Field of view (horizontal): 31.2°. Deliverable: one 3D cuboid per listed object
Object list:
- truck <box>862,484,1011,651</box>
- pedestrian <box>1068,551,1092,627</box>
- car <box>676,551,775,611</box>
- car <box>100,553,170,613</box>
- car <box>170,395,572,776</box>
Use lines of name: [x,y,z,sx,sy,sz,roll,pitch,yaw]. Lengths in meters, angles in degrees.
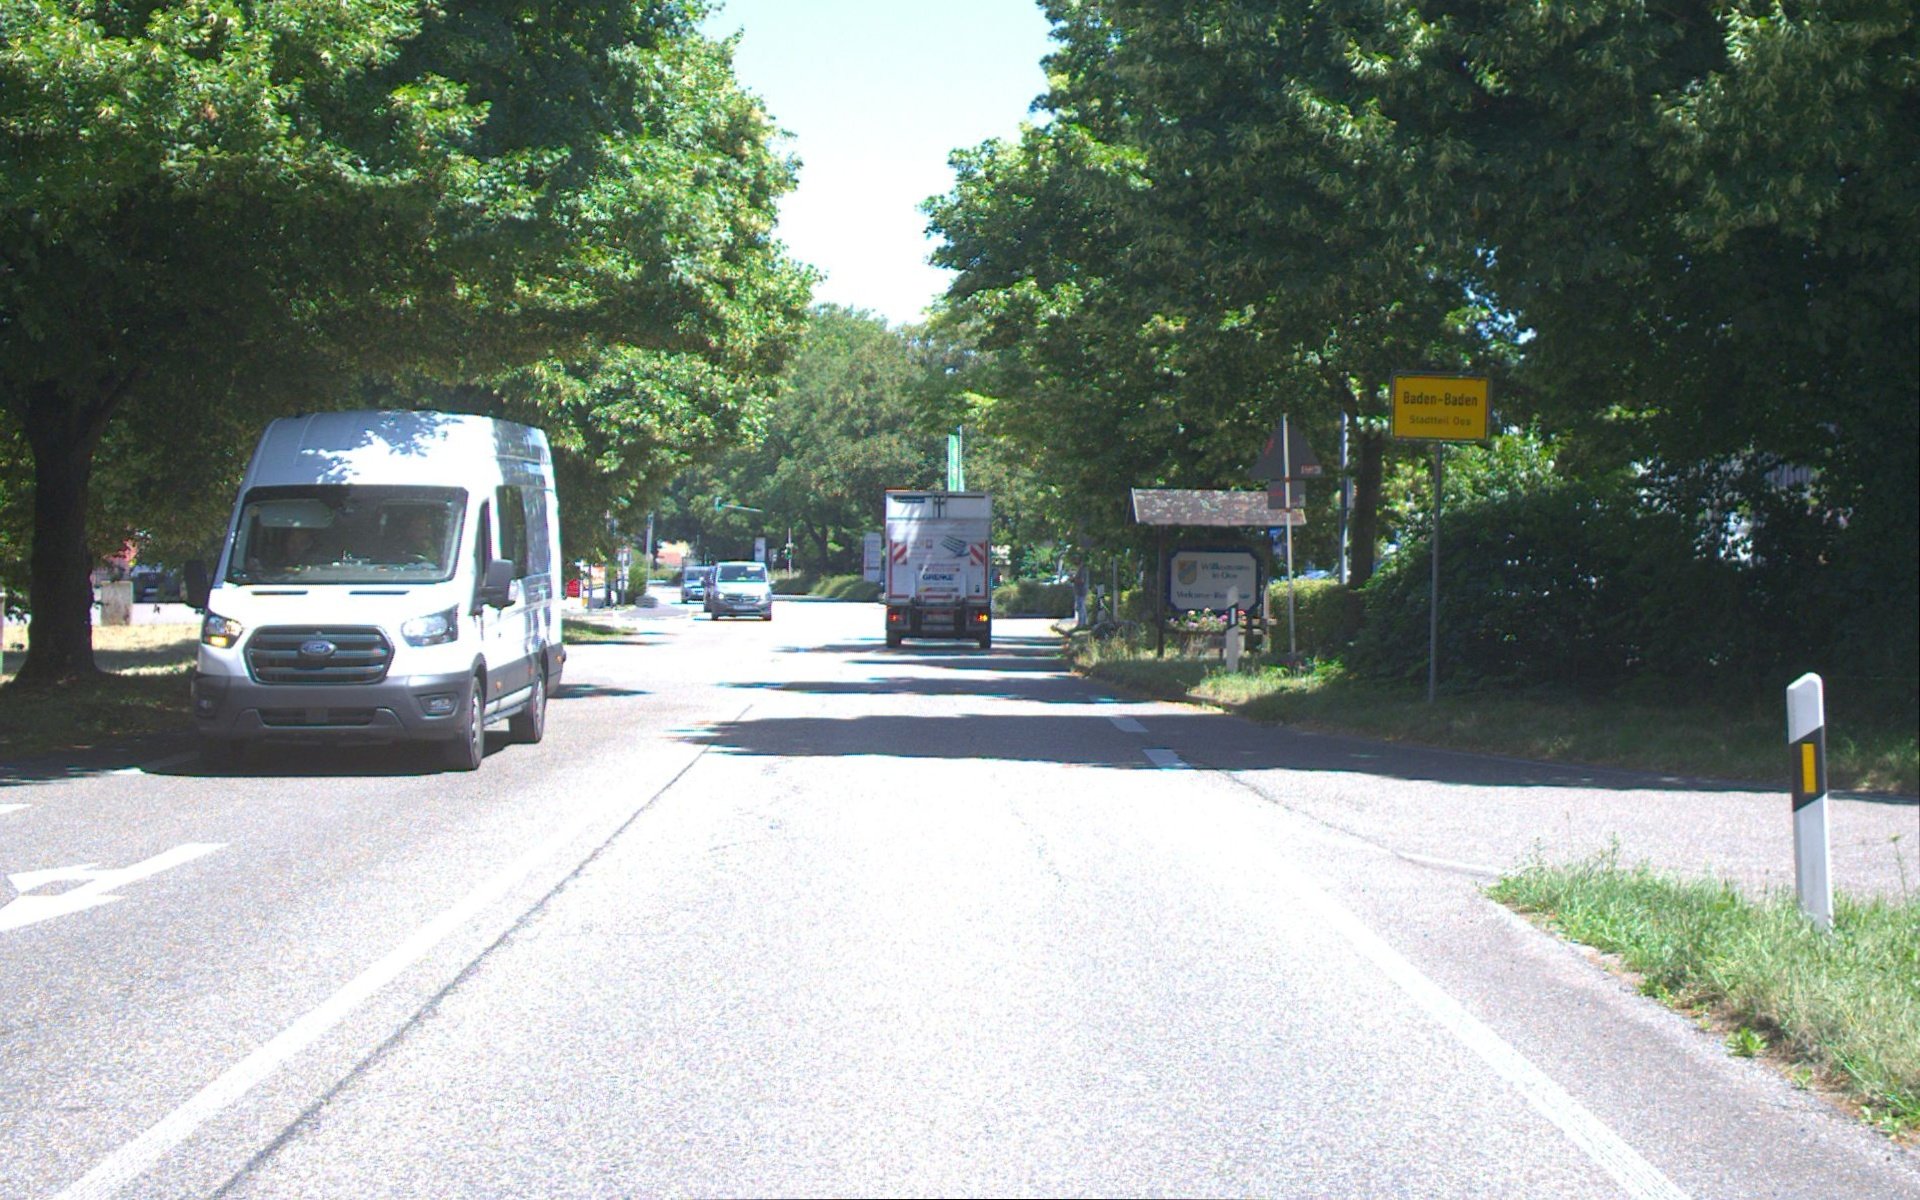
truck: [-0.398,-0.673,66.966,2.534,3.124,5.360,0,1,4]
pedestrian: [2.801,-0.253,80.385,0.548,1.770,0.577,0,0,4]
car: [-7.423,-0.617,108.474,1.993,1.850,5.317,0,0,-17]
car: [-22.490,-0.476,93.611,1.735,1.579,4.001,0,1,-15]
car: [-4.438,-0.129,27.047,2.073,2.618,6.784,0,0,-1]
